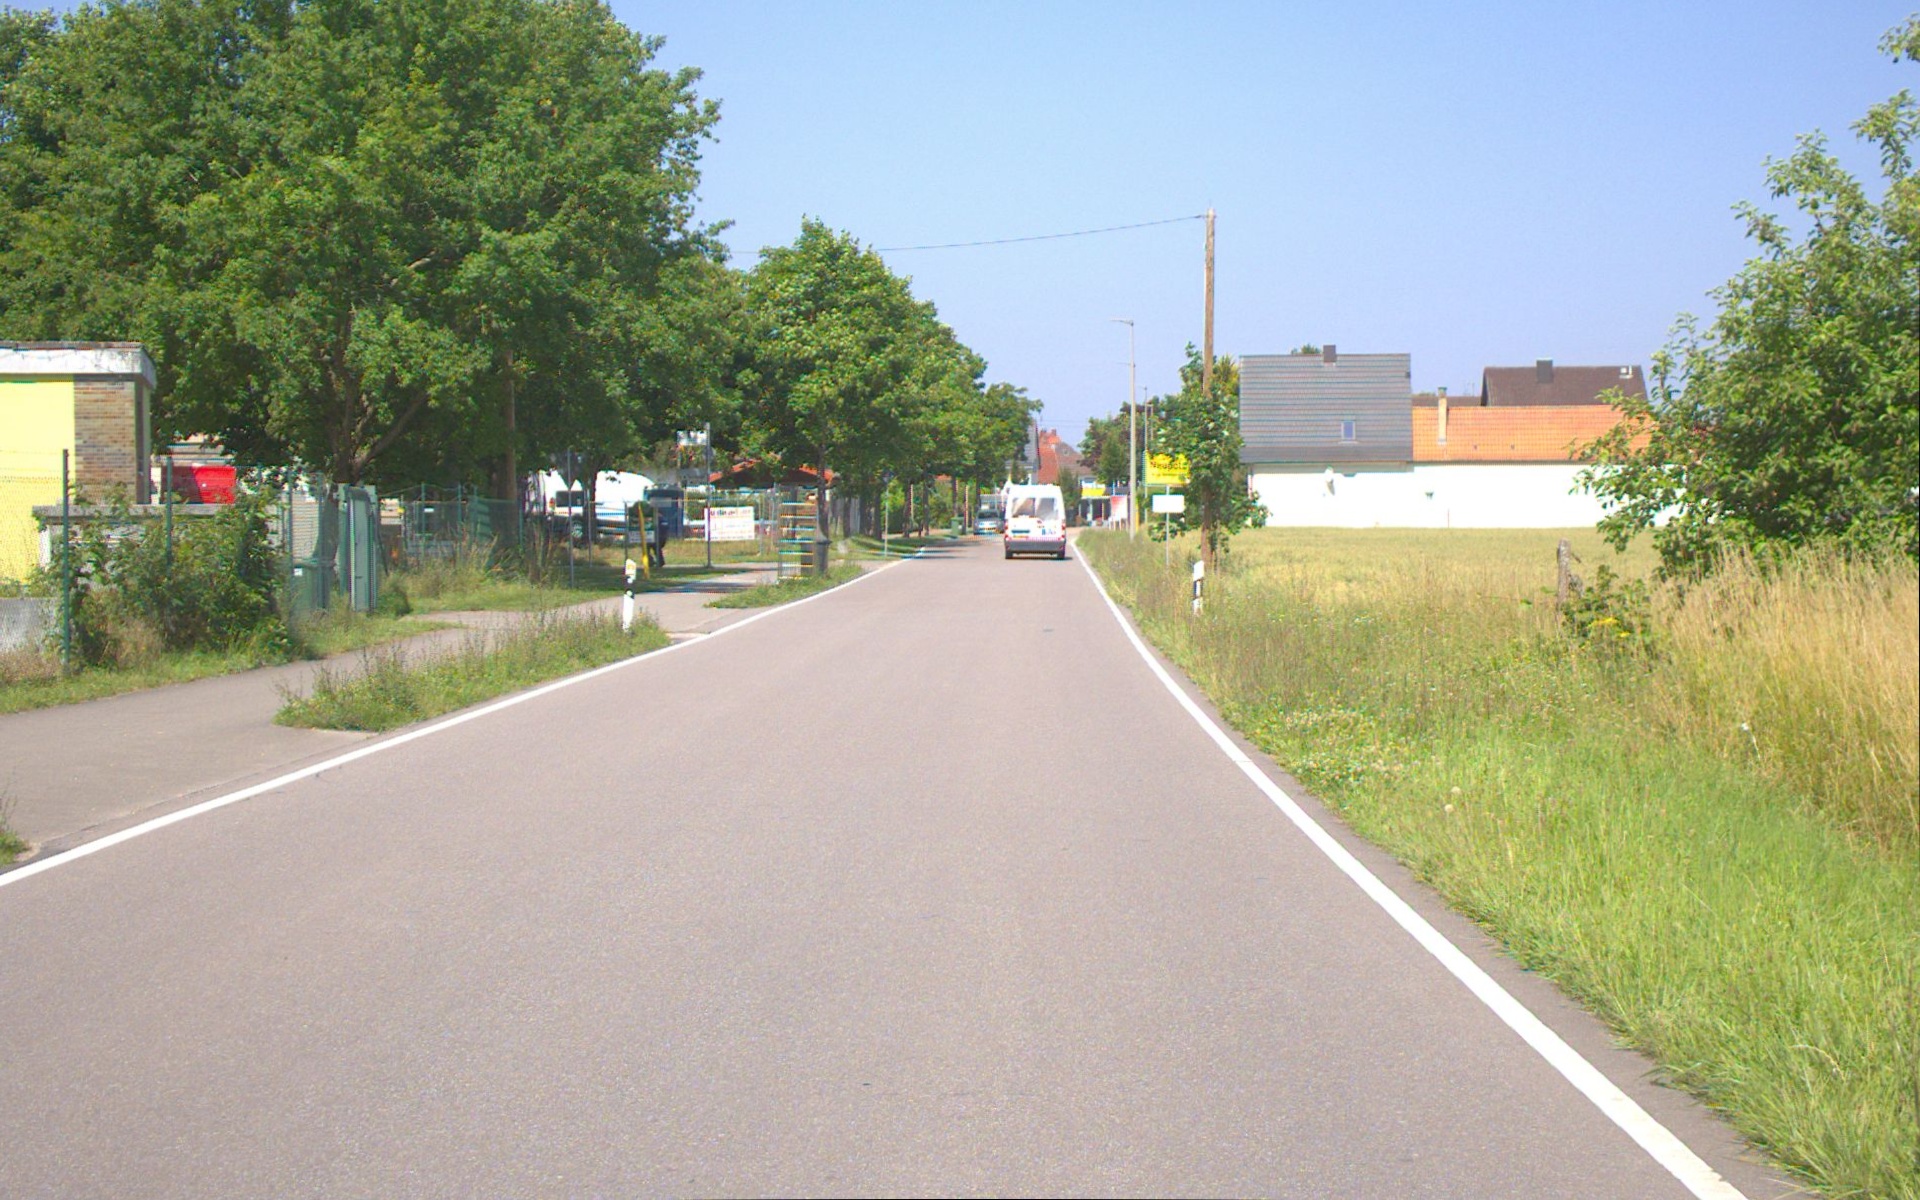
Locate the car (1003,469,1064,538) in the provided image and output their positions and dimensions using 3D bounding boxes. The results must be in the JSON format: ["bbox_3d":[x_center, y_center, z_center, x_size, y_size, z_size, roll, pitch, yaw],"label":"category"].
[{"bbox_3d":[2.477,-3.229,115.153,1.993,2.258,4.726,0,2,1],"label":"car"}]

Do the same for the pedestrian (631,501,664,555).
[{"bbox_3d":[-8.941,-2.062,98.363,0.678,1.560,0.718,0,2,25],"label":"pedestrian"}]

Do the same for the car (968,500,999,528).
[{"bbox_3d":[1.386,-5.095,203.574,1.771,1.585,4.000,0,2,1],"label":"car"}]

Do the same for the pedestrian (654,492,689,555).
[{"bbox_3d":[-8.303,-2.198,98.908,0.720,1.796,0.709,0,2,25],"label":"pedestrian"}]

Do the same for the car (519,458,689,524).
[{"bbox_3d":[-12.278,-3.766,118.760,5.596,2.258,2.000,-2,2,-37],"label":"car"}]
